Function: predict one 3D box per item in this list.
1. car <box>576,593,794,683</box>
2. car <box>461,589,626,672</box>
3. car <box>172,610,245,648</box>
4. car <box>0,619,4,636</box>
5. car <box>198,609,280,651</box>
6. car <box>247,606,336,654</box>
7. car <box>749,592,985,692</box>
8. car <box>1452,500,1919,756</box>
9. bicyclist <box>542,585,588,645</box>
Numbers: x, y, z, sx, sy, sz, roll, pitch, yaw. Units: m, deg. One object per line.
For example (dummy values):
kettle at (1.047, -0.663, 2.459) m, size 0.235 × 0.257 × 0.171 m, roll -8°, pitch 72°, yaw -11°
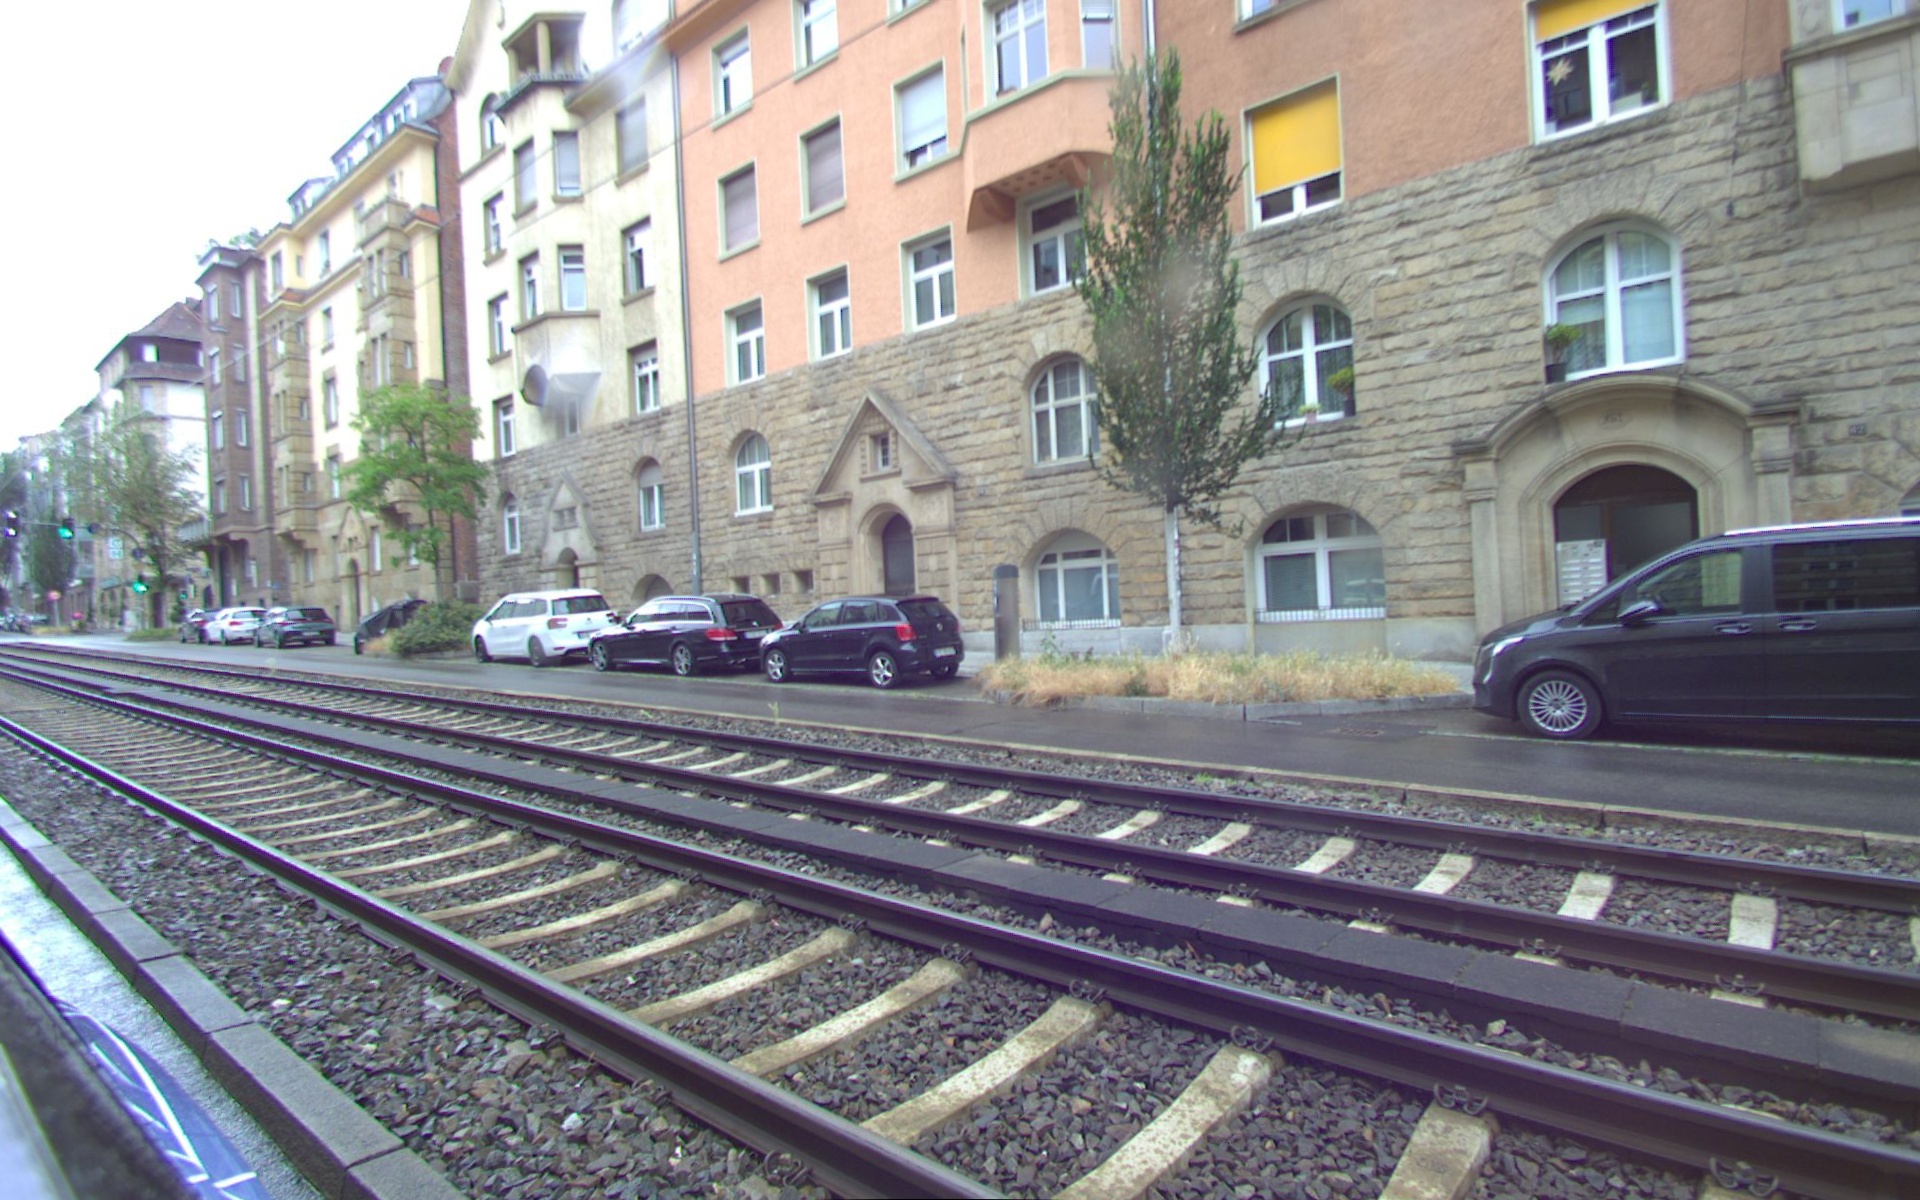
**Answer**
car at (-5.475, 0.689, 19.863) m, size 4.593 × 1.502 × 1.738 m, roll -1°, pitch 2°, yaw 39°
car at (-9.756, 0.666, 23.571) m, size 4.257 × 1.684 × 1.738 m, roll -1°, pitch 3°, yaw 40°
car at (-32.068, 1.187, 43.152) m, size 3.712 × 1.438 × 1.737 m, roll -1°, pitch 3°, yaw 42°
car at (-81.611, 2.299, 84.814) m, size 4.255 × 1.356 × 1.771 m, roll -1°, pitch 0°, yaw 41°
car at (-28.375, 1.151, 39.806) m, size 4.043 × 1.462 × 1.737 m, roll -1°, pitch 3°, yaw 42°
car at (-23.740, 1.028, 35.907) m, size 3.712 × 1.493 × 1.695 m, roll -1°, pitch 3°, yaw 42°
car at (-1.600, 0.644, 16.853) m, size 3.690 × 1.414 × 1.739 m, roll -1°, pitch 2°, yaw 38°
car at (7.213, 0.213, 8.948) m, size 4.829 × 1.945 × 1.886 m, roll -1°, pitch 0°, yaw 40°
bicyclist at (-10.744, 0.399, 27.531) m, size 0.774 × 1.613 × 0.883 m, roll -1°, pitch 0°, yaw 41°
